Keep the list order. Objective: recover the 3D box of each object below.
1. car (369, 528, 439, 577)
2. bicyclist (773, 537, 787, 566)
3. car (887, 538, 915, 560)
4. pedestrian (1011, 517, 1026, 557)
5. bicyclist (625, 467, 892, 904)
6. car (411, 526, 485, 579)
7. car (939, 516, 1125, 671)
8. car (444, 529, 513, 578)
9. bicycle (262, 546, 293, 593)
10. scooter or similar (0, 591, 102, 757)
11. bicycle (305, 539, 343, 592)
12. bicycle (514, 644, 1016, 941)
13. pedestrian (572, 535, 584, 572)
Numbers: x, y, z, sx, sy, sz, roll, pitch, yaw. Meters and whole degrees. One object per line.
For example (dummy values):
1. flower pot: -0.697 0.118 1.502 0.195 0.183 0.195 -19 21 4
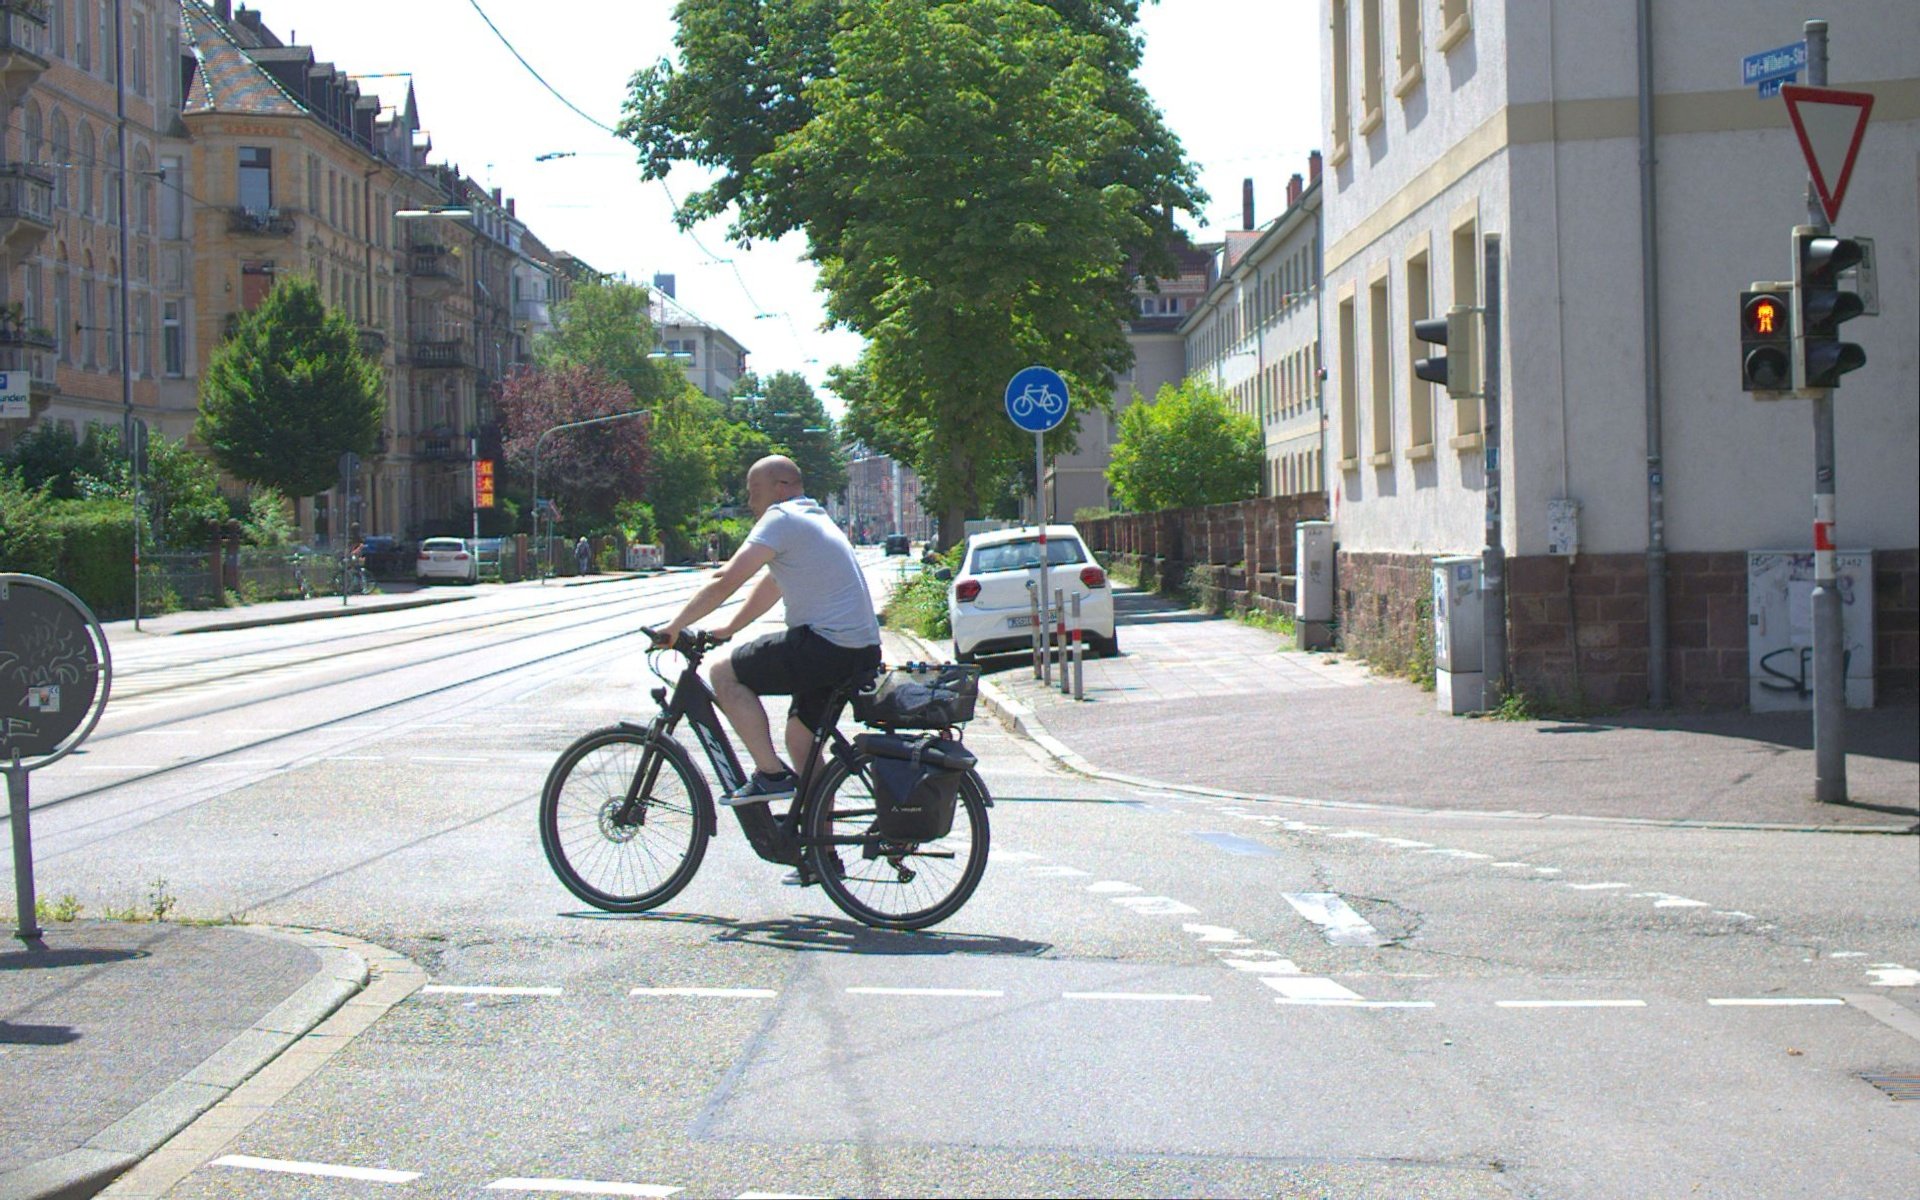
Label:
1. car: -20.014 -1.712 123.909 1.919 1.709 4.000 1 1 -1
2. bicyclist: -11.330 -3.076 216.397 0.727 1.812 1.079 1 0 1
3. car: -4.011 -3.478 234.504 1.825 1.514 4.000 1 1 -1
4. pedestrian: 2.266 -2.448 133.442 0.521 1.557 0.573 -1 1 -1
5. bicyclist: -0.744 0.309 12.890 0.847 1.587 0.700 0 1 10
6. car: -17.185 -1.588 115.572 1.919 1.709 4.000 1 1 -1
7. car: 0.724 -0.088 37.336 1.815 1.511 4.000 -3 1 -1
8. car: -17.328 -1.674 123.836 1.919 1.709 4.000 1 1 -1
9. bicycle: -15.900 -0.707 80.032 0.677 1.061 1.919 -1 1 -11
10. scooter or similar: -6.785 0.516 24.453 1.201 1.151 0.558 1 0 3
11. bicycle: -15.657 -0.858 84.675 0.677 1.274 1.919 -1 1 -3
12. bicycle: -0.718 0.704 12.907 1.761 1.053 0.700 0 1 10
13. pedestrian: -15.008 -1.840 135.067 0.406 1.456 0.436 -1 1 -1
